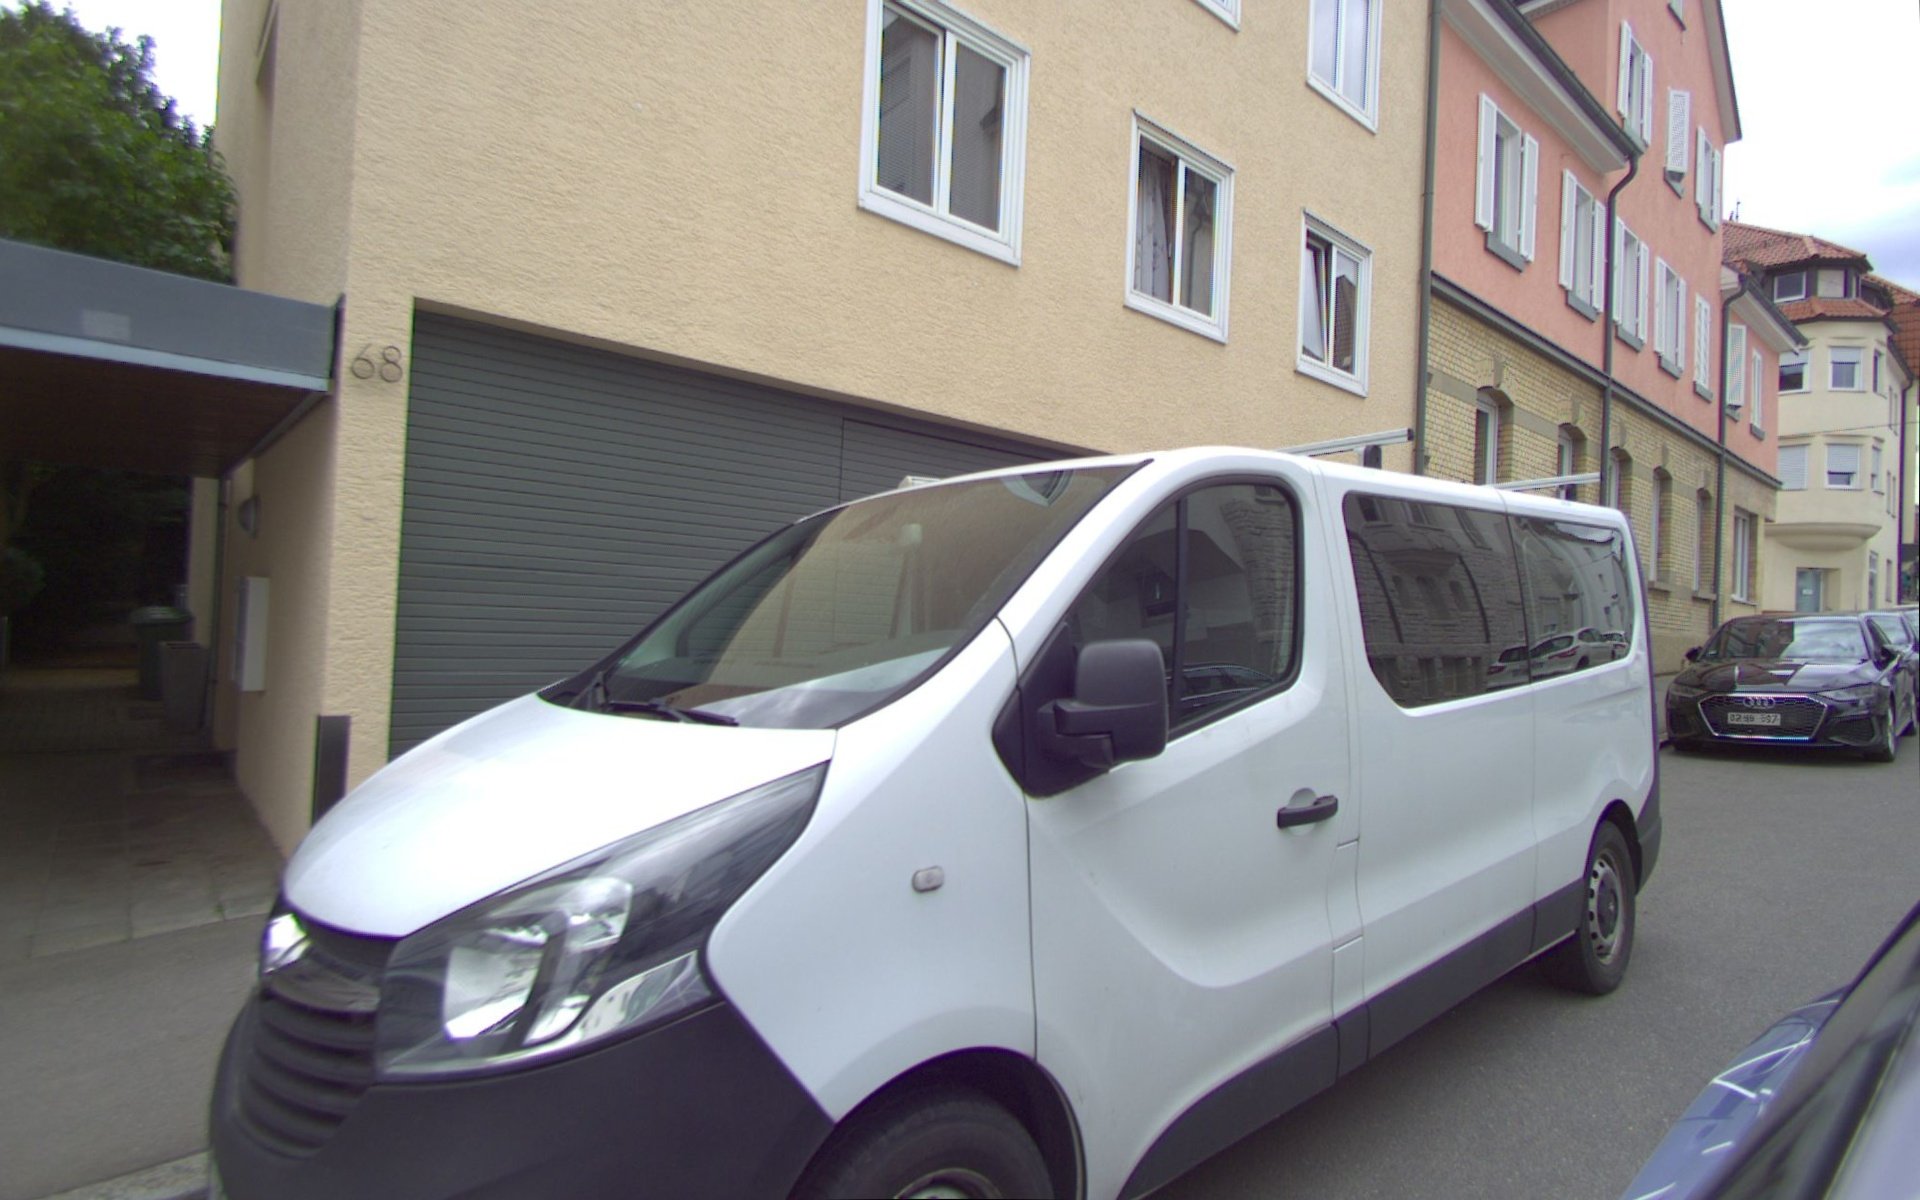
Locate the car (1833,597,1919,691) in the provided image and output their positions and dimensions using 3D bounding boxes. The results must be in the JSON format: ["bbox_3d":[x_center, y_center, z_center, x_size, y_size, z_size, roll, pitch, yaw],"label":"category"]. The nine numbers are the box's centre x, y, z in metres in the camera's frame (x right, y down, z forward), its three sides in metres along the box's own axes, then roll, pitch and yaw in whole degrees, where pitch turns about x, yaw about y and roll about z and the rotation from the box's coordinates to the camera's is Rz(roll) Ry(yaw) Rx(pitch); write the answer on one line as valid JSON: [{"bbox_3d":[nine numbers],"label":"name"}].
[{"bbox_3d":[16.087,0.686,16.788,4.217,1.421,1.855,1,-1,-41],"label":"car"}]

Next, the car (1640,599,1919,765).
[{"bbox_3d":[9.078,0.753,10.908,4.497,1.422,1.854,1,-3,-42],"label":"car"}]

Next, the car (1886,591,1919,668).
[{"bbox_3d":[20.264,0.604,20.664,3.563,1.498,1.670,1,1,-42],"label":"car"}]

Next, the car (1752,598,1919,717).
[{"bbox_3d":[12.415,0.703,13.941,3.901,1.421,1.853,1,-1,-44],"label":"car"}]

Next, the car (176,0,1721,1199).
[{"bbox_3d":[0.833,0.389,3.613,5.633,2.056,1.908,1,-1,-41],"label":"car"}]
